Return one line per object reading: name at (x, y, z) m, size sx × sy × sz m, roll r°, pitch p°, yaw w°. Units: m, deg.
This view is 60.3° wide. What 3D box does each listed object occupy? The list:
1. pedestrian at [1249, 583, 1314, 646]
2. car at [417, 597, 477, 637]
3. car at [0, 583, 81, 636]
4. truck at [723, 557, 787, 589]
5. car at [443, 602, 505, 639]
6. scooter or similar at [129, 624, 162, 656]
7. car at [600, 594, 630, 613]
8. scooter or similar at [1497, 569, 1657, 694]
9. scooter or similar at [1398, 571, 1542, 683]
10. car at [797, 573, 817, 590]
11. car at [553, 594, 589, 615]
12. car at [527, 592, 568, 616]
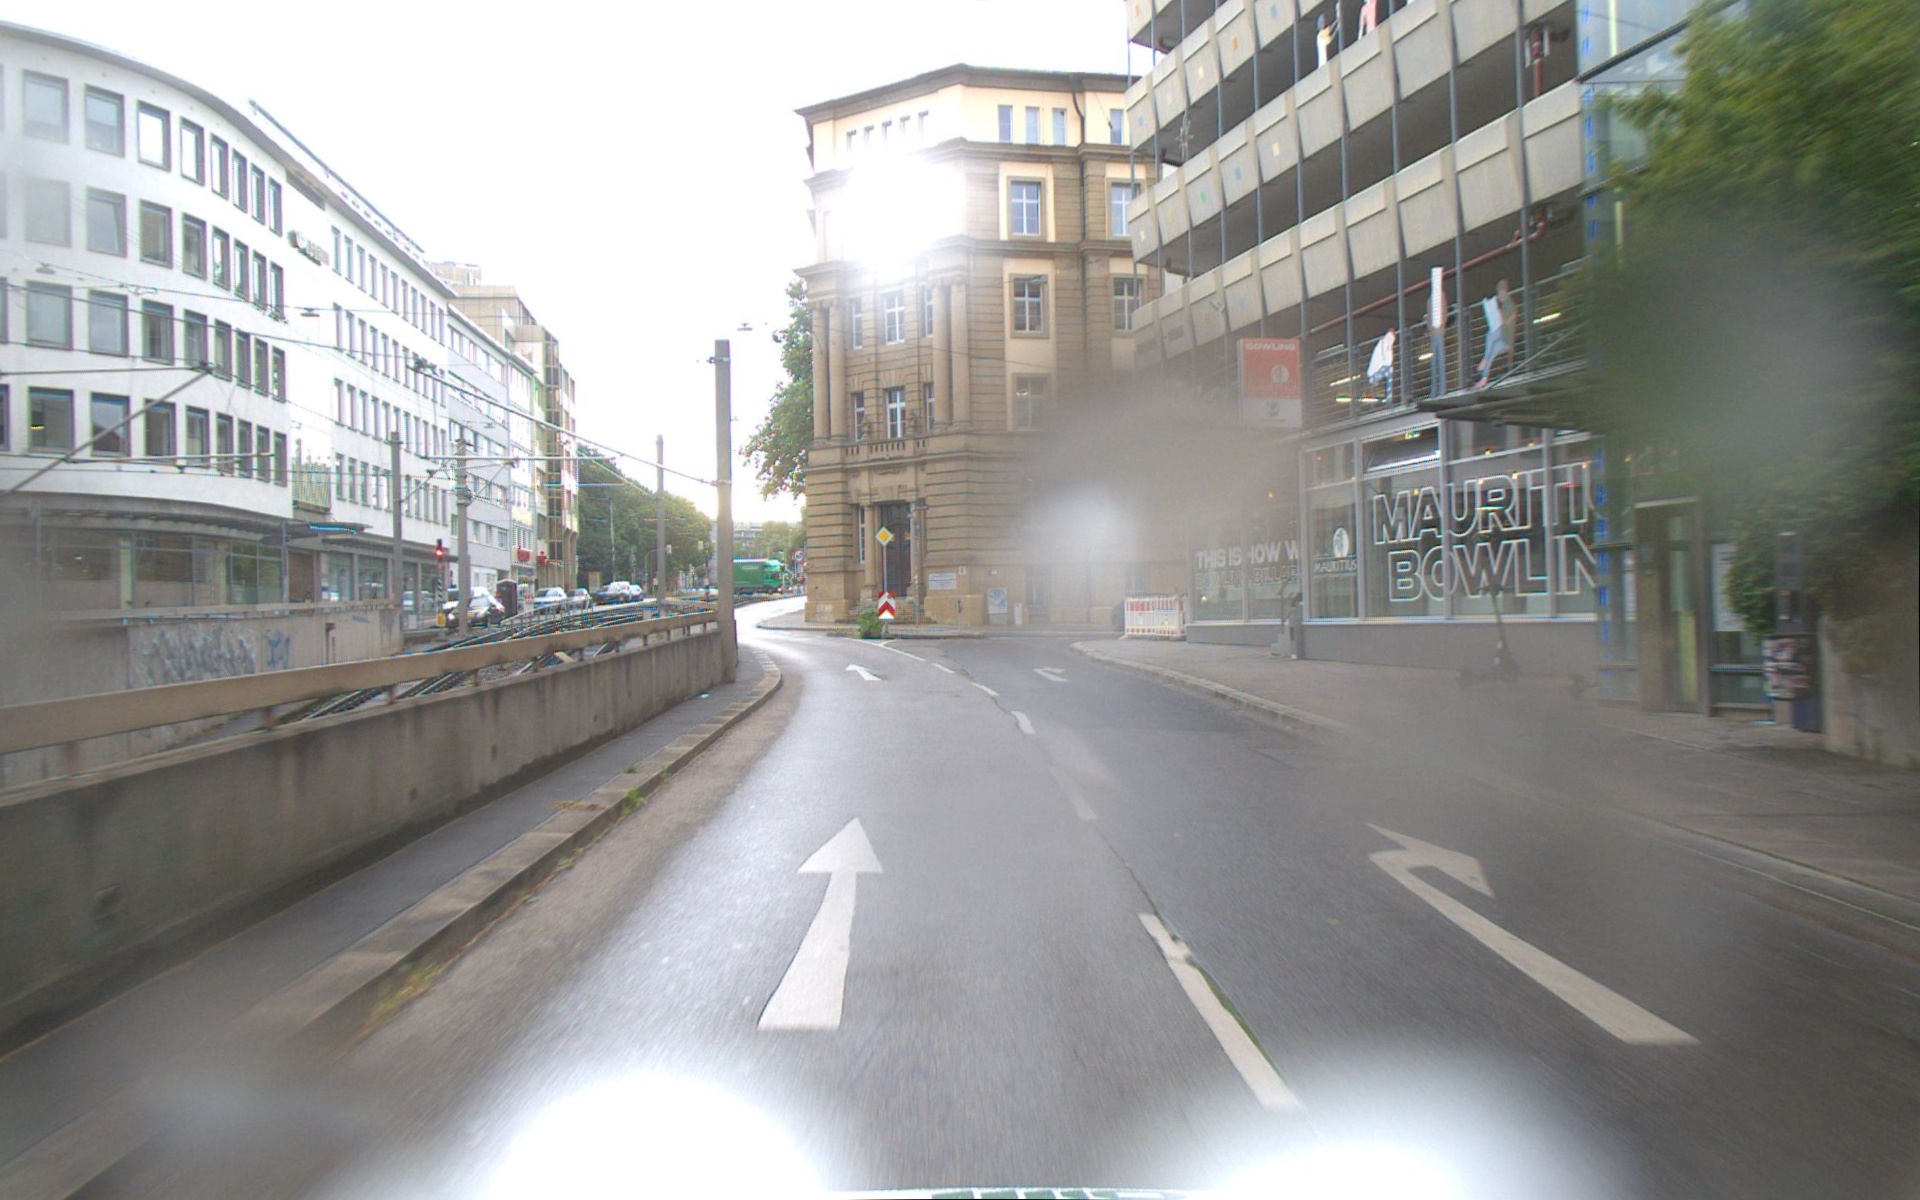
pedestrian at (6.004, 0.265, 30.915) m, size 0.740 × 1.142 × 1.242 m, roll 0°, pitch 0°, yaw -15°
car at (-25.789, 0.834, 83.301) m, size 1.955 × 1.916 × 4.921 m, roll 0°, pitch 0°, yaw -6°
car at (-30.155, 0.367, 51.398) m, size 4.739 × 1.548 × 1.650 m, roll -3°, pitch 0°, yaw -42°
truck at (-22.978, -3.008, 184.977) m, size 7.770 × 3.446 × 1.992 m, roll 2°, pitch 0°, yaw 36°
car at (-21.246, 0.877, 72.427) m, size 1.955 × 1.554 × 3.658 m, roll 0°, pitch 0°, yaw -6°
scooter or similar at (-27.517, 1.334, 55.876) m, size 0.803 × 1.062 × 0.548 m, roll 0°, pitch 0°, yaw 9°
car at (-28.099, 0.254, 134.861) m, size 1.955 × 1.482 × 4.306 m, roll 0°, pitch 0°, yaw -6°
scooter or similar at (6.915, 0.334, 18.532) m, size 1.615 × 1.290 × 0.737 m, roll -3°, pitch 1°, yaw -26°
scooter or similar at (6.340, 0.317, 20.552) m, size 1.615 × 1.290 × 0.737 m, roll -3°, pitch 1°, yaw -26°
car at (-15.286, -1.811, 165.050) m, size 1.955 × 1.691 × 3.995 m, roll 0°, pitch 0°, yaw -6°
car at (-27.778, 0.293, 118.125) m, size 1.955 × 1.482 × 4.306 m, roll 0°, pitch 0°, yaw -6°
car at (-26.367, 0.258, 105.834) m, size 1.955 × 1.482 × 4.306 m, roll 0°, pitch 0°, yaw -6°
